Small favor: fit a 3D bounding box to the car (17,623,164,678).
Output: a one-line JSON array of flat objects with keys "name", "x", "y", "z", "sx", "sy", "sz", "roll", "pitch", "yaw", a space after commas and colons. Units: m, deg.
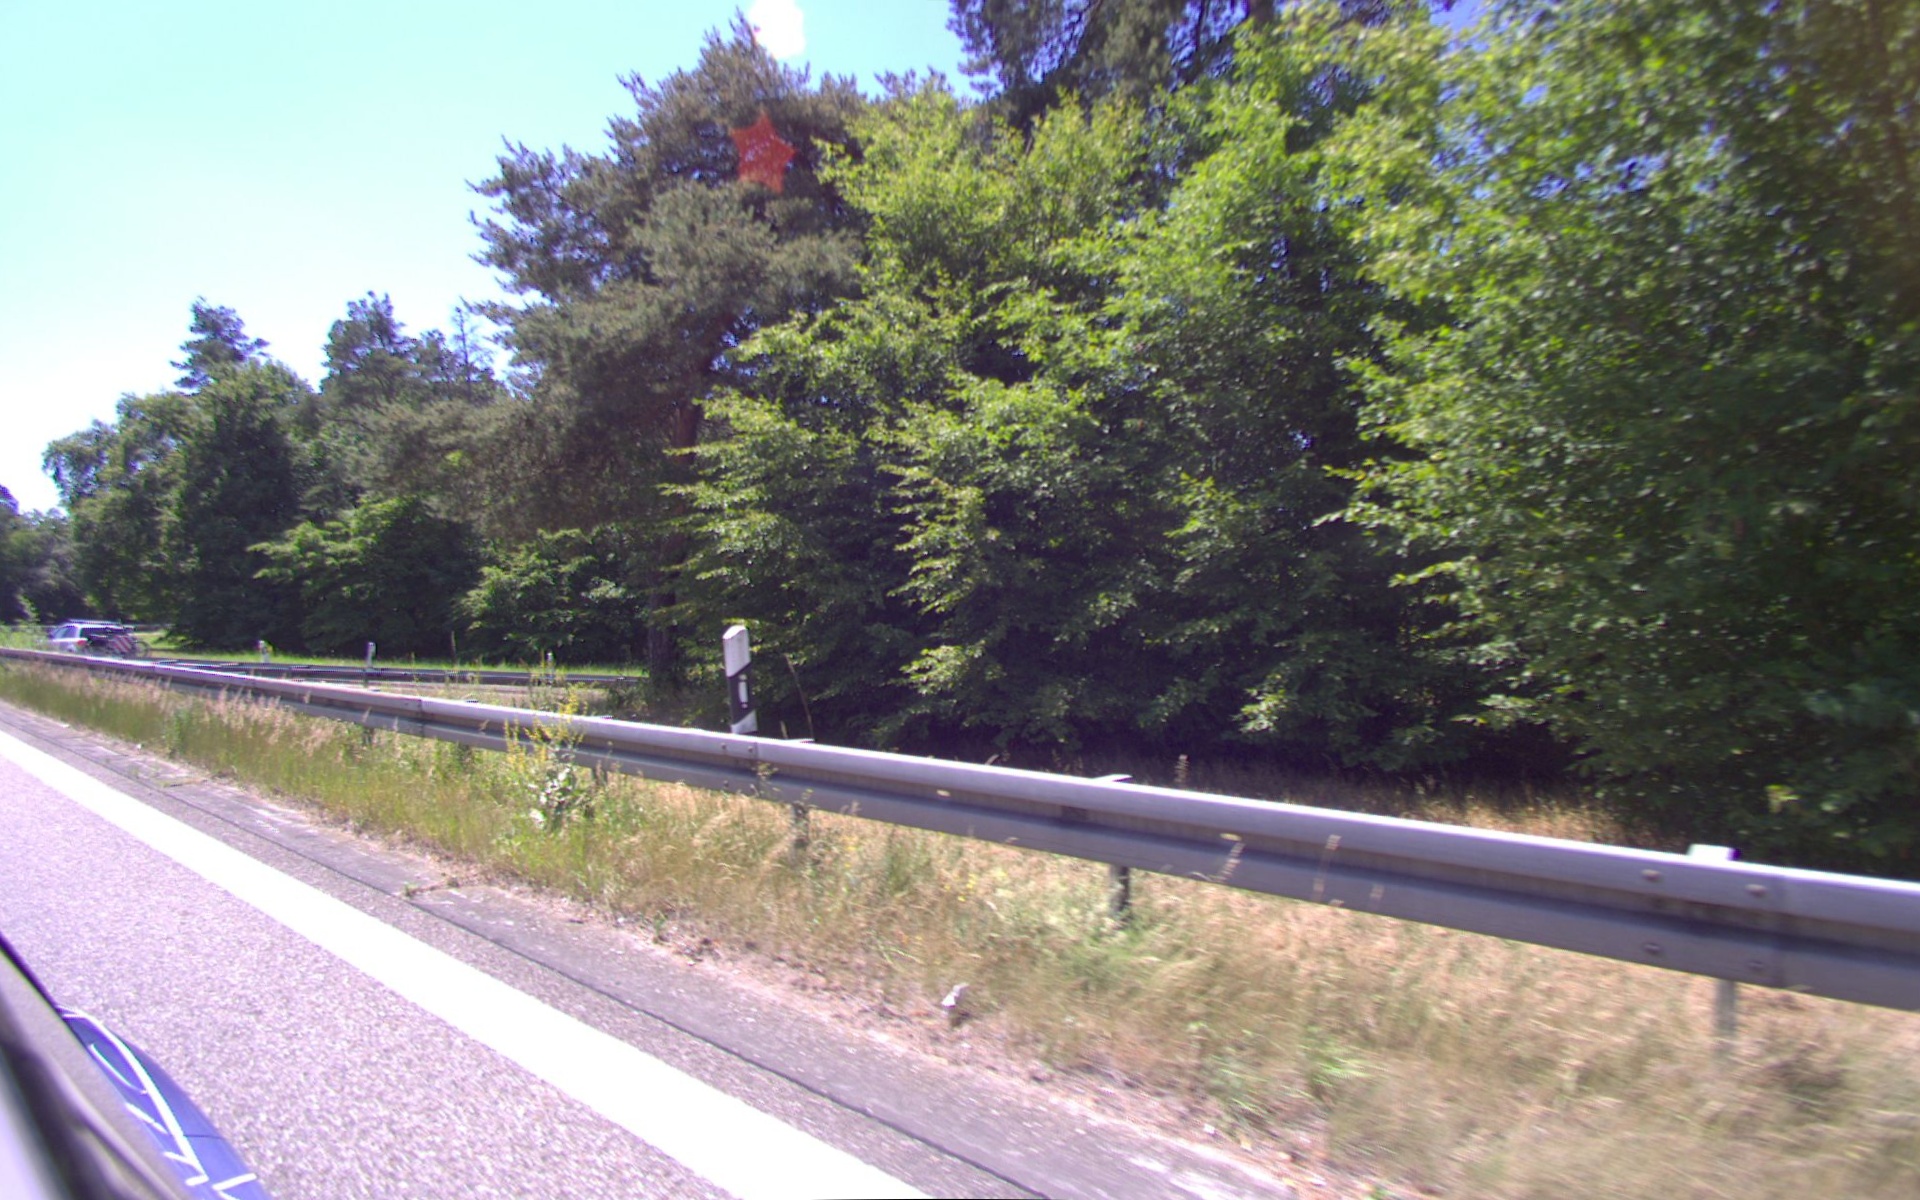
[{"name": "car", "x": -29.226, "y": 1.674, "z": 33.976, "sx": 5.248, "sy": 1.653, "sz": 1.980, "roll": 0, "pitch": -3, "yaw": 29}]
